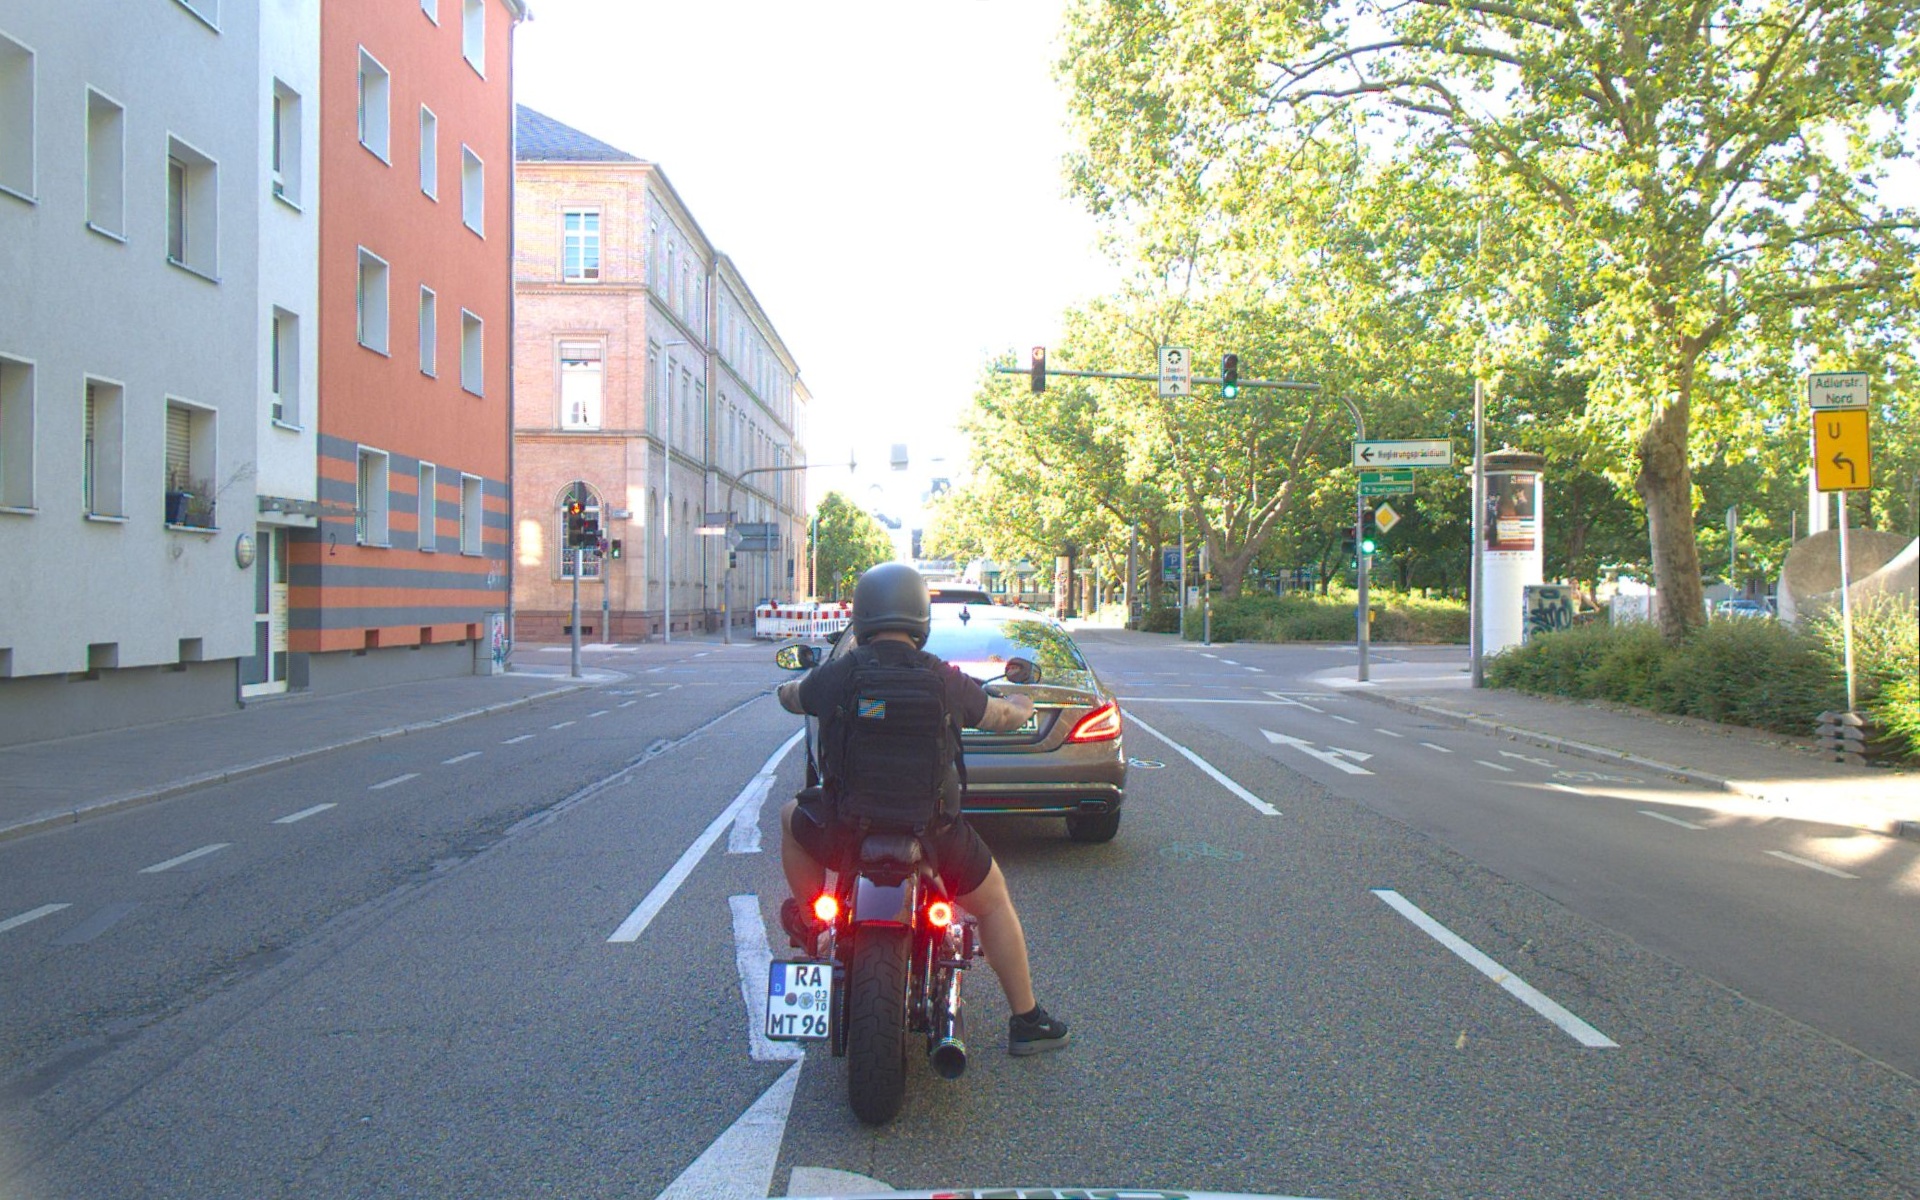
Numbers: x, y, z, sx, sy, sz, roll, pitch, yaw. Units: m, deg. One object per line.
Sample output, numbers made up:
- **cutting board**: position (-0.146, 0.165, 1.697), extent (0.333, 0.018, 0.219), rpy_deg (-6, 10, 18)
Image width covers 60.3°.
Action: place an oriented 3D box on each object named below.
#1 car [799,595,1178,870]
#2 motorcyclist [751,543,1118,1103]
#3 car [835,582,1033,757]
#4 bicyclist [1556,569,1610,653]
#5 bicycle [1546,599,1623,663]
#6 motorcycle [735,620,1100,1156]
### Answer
- **car**: position (-0.033, 0.701, 11.118), extent (1.867, 1.466, 4.280), rpy_deg (0, 0, -9)
- **motorcyclist**: position (-0.078, 0.651, 5.257), extent (1.039, 1.610, 0.908), rpy_deg (1, 0, -1)
- **car**: position (-0.342, 0.609, 16.757), extent (1.777, 1.563, 3.846), rpy_deg (0, 0, -3)
- **bicyclist**: position (12.241, 0.219, 32.514), extent (0.701, 1.610, 0.936), rpy_deg (1, 0, 1)
- **bicycle**: position (12.227, 0.593, 32.449), extent (0.701, 1.193, 2.176), rpy_deg (1, 0, 1)
- **motorcycle**: position (-0.128, 0.776, 5.526), extent (0.942, 1.380, 2.319), rpy_deg (1, 0, -1)
